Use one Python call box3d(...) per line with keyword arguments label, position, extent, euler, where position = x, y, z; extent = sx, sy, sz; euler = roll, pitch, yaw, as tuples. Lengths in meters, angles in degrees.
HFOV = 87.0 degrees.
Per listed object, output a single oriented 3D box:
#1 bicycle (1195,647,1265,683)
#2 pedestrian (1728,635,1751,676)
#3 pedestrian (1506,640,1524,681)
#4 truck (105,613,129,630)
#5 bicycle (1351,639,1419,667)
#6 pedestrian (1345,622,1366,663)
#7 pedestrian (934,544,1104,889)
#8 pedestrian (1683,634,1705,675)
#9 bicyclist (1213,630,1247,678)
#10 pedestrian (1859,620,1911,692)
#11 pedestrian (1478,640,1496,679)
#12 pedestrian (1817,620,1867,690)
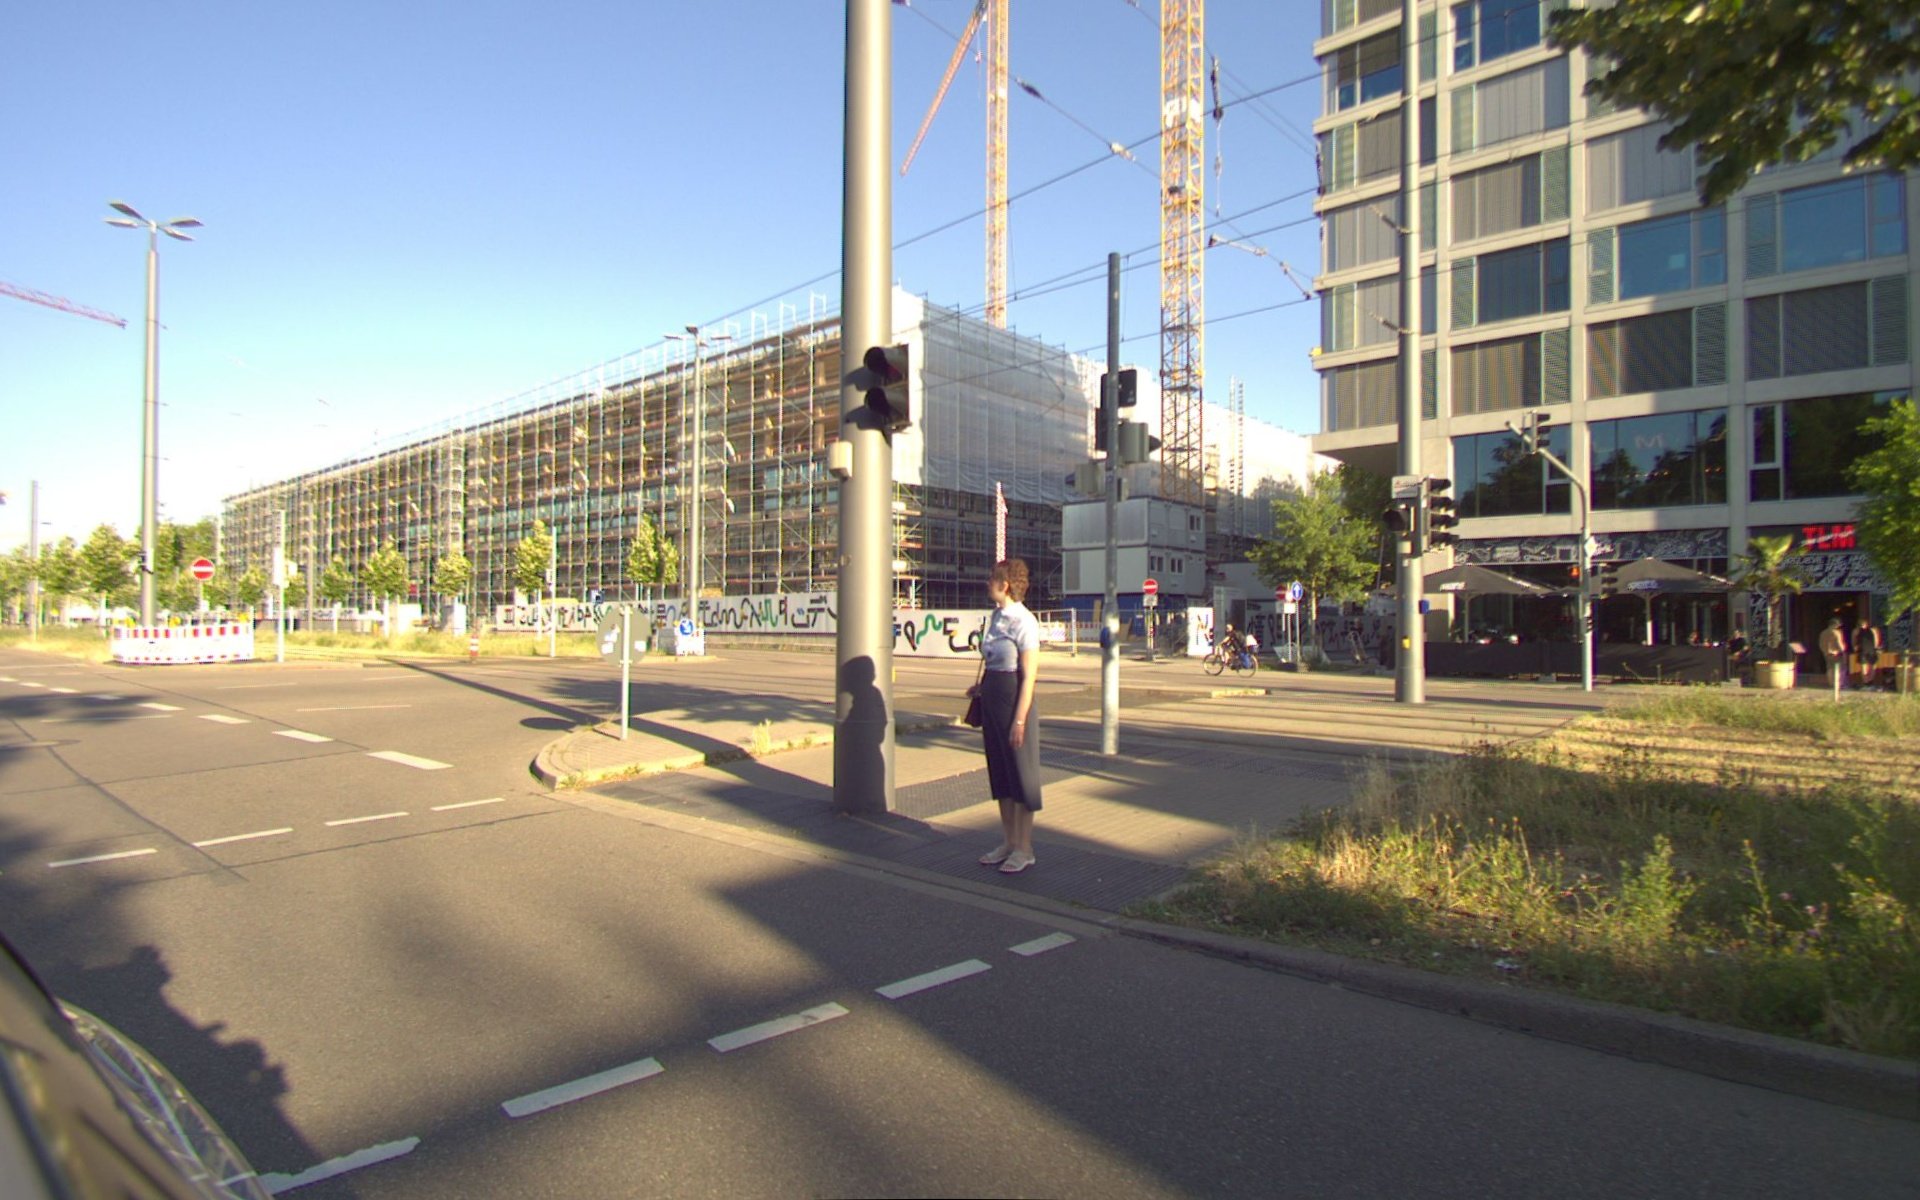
box3d(label="bicycle", position=(8.437, 2.021, 31.705), extent=(2.077, 1.075, 0.618), euler=(-1, -2, 42))
box3d(label="pedestrian", position=(23.439, 1.660, 30.438), extent=(0.497, 1.231, 0.427), euler=(-1, -2, 41))
box3d(label="pedestrian", position=(16.686, 1.821, 30.429), extent=(0.432, 1.203, 0.360), euler=(-1, -2, 38))
box3d(label="truck", position=(-126.962, 3.262, 152.434), extent=(4.739, 2.593, 2.115), euler=(-2, -3, 43))
box3d(label="bicycle", position=(15.519, 1.927, 37.002), extent=(2.215, 0.943, 0.612), euler=(-1, -2, 41))
box3d(label="pedestrian", position=(14.938, 1.603, 38.233), extent=(0.577, 1.510, 0.579), euler=(-1, -2, 44))
box3d(label="pedestrian", position=(0.319, 0.587, 5.507), extent=(0.591, 1.712, 0.714), euler=(2, -2, -44))
box3d(label="pedestrian", position=(22.627, 1.677, 31.199), extent=(0.497, 1.231, 0.427), euler=(-1, -2, 41))
box3d(label="bicyclist", position=(8.460, 1.673, 31.713), extent=(0.851, 1.476, 0.618), euler=(-1, -2, 42))
box3d(label="pedestrian", position=(22.854, 1.368, 25.005), extent=(0.858, 1.734, 0.805), euler=(1, -2, -40))
box3d(label="pedestrian", position=(16.312, 1.833, 31.329), extent=(0.432, 1.203, 0.360), euler=(-1, -2, 38))
box3d(label="pedestrian", position=(22.307, 1.380, 25.586), extent=(0.858, 1.734, 0.805), euler=(1, -2, -40))
